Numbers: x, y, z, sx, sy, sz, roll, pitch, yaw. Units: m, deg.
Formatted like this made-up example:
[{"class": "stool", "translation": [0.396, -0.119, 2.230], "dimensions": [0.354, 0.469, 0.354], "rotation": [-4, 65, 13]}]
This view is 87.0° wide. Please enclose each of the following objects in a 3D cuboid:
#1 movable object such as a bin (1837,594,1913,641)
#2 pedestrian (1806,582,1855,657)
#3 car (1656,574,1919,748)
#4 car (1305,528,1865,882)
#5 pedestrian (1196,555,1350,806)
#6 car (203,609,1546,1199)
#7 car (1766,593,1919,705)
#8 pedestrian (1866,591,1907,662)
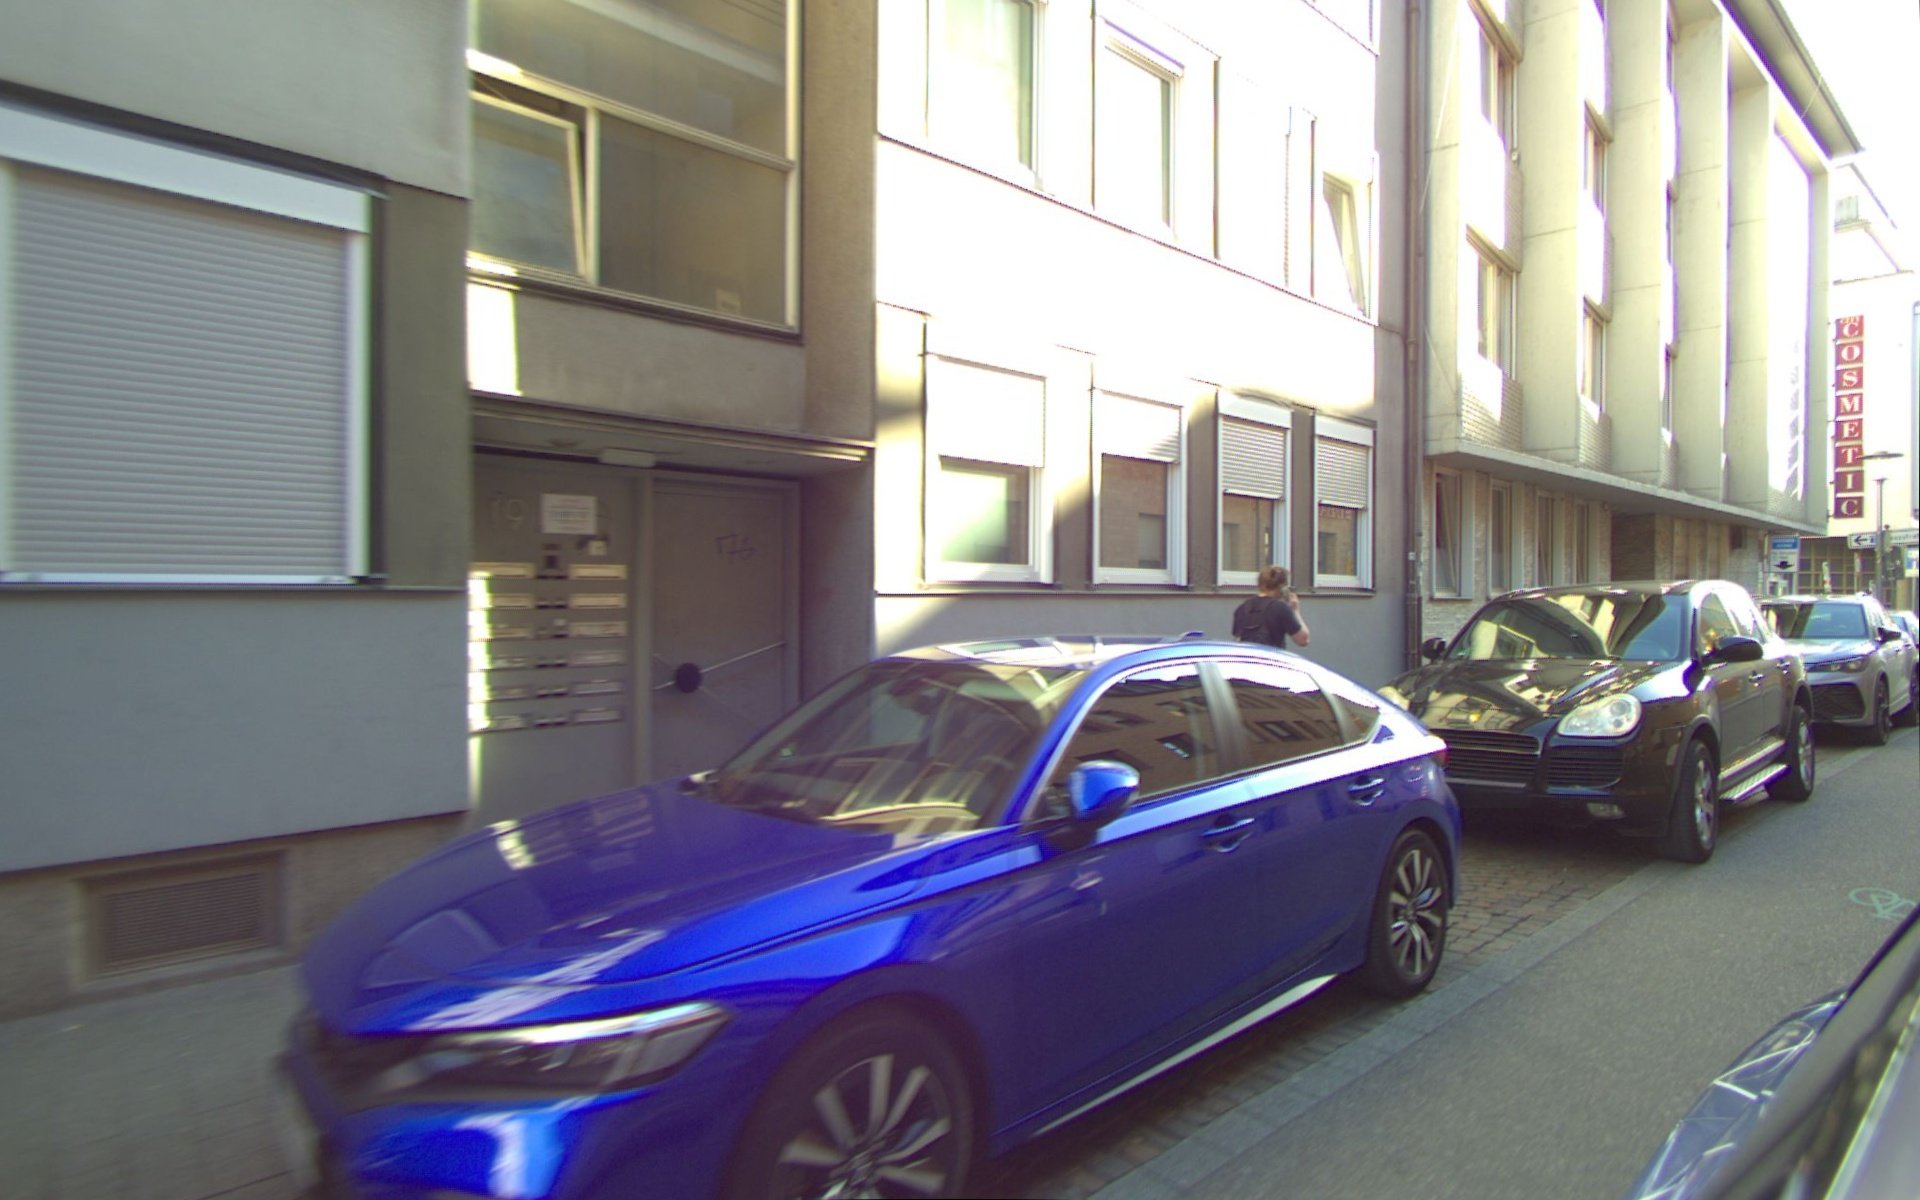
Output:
[{"class": "movable object such as a bin", "translation": [29.630, 0.547, 32.796], "dimensions": [1.411, 1.481, 1.126], "rotation": [0, 0, 9]}, {"class": "pedestrian", "translation": [20.808, 0.464, 24.193], "dimensions": [0.611, 1.758, 0.626], "rotation": [0, 0, 4]}, {"class": "car", "translation": [10.425, 0.625, 12.331], "dimensions": [4.758, 1.724, 1.996], "rotation": [0, -2, -41]}, {"class": "car", "translation": [4.906, 0.544, 7.595], "dimensions": [4.962, 1.809, 2.107], "rotation": [0, -1, -40]}, {"class": "pedestrian", "translation": [2.339, 0.549, 7.587], "dimensions": [0.733, 1.742, 0.790], "rotation": [0, 2, -40]}, {"class": "car", "translation": [0.275, 0.799, 3.664], "dimensions": [4.708, 1.431, 1.809], "rotation": [0, -2, -42]}, {"class": "car", "translation": [14.400, 0.707, 15.873], "dimensions": [4.518, 1.524, 1.826], "rotation": [0, -3, -40]}, {"class": "pedestrian", "translation": [21.011, 0.580, 22.948], "dimensions": [0.570, 1.560, 0.436], "rotation": [2, 2, 34]}]
